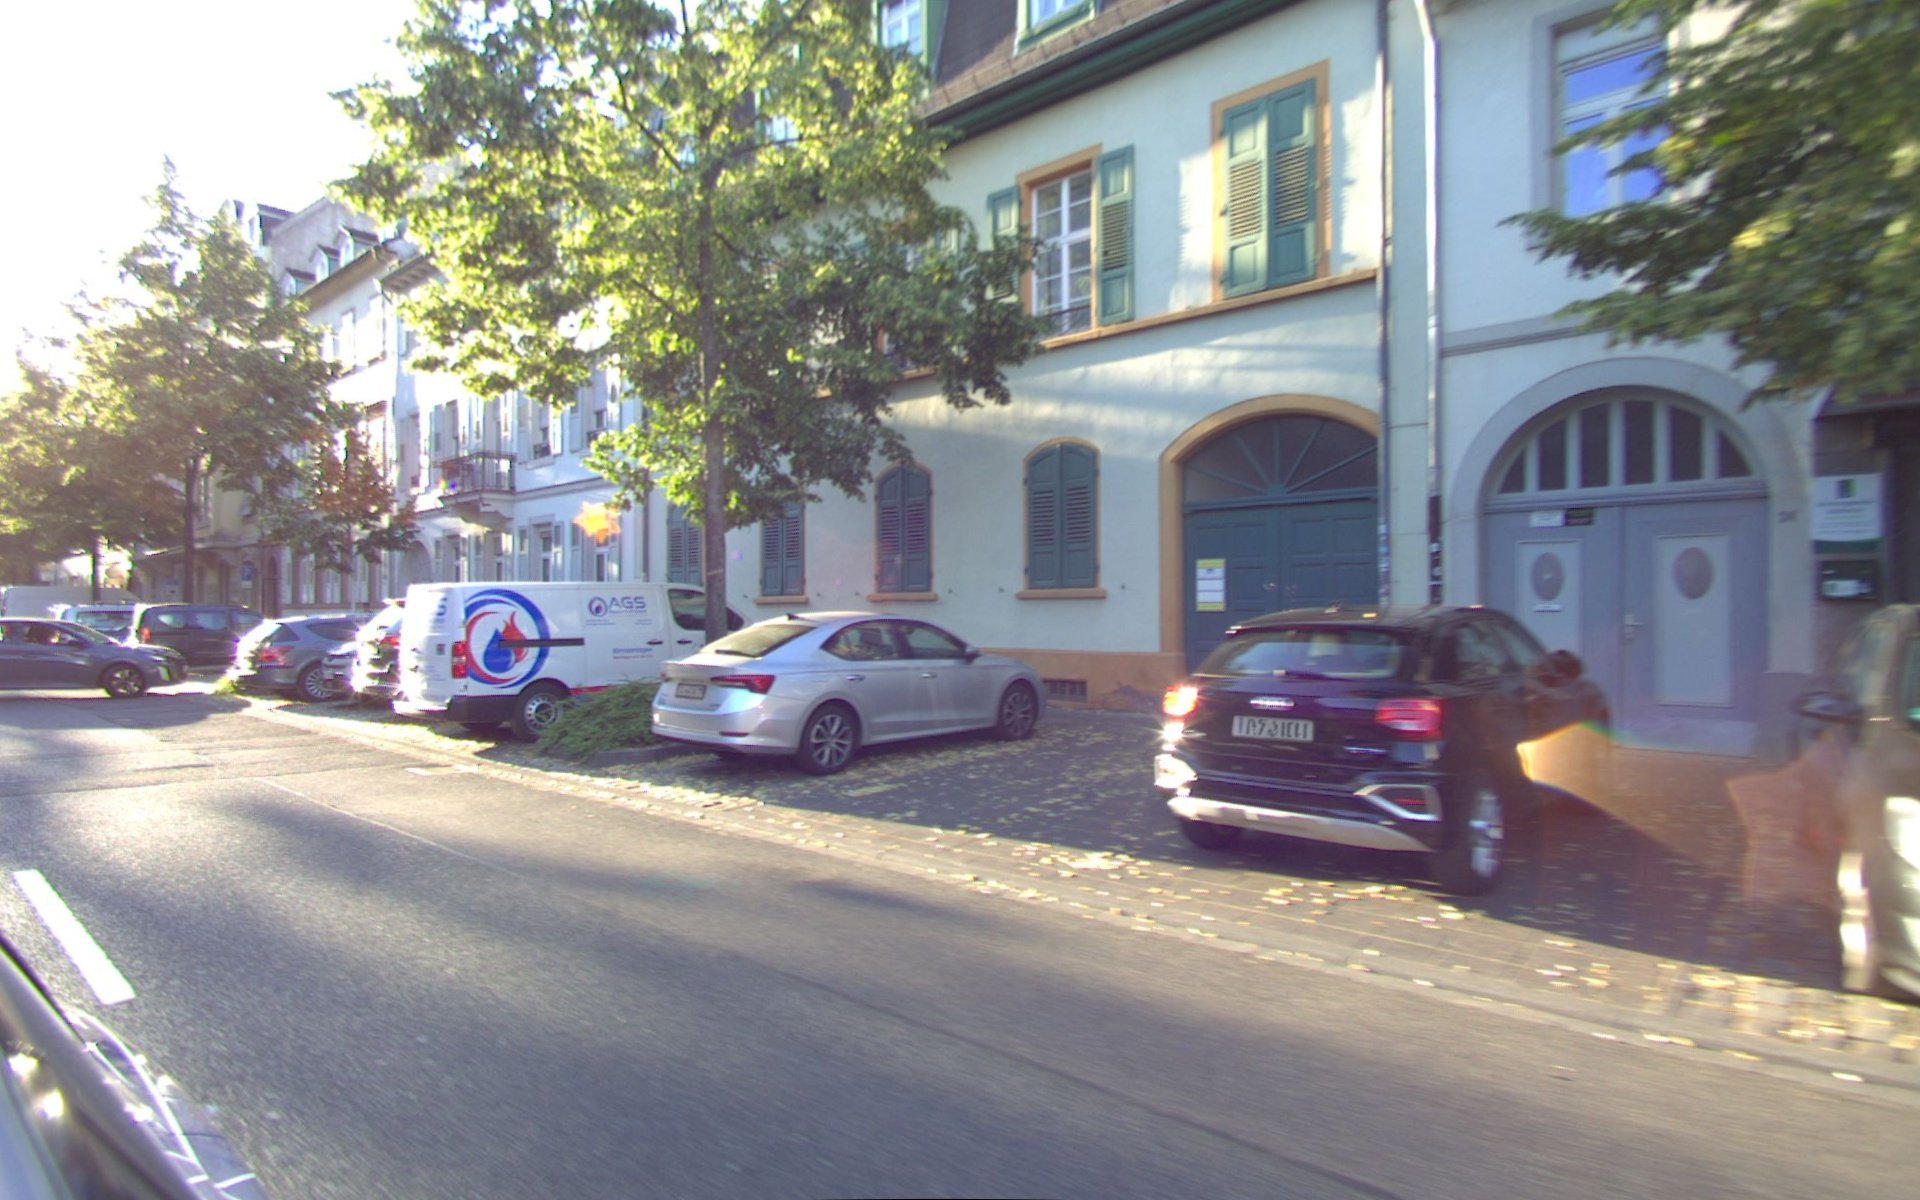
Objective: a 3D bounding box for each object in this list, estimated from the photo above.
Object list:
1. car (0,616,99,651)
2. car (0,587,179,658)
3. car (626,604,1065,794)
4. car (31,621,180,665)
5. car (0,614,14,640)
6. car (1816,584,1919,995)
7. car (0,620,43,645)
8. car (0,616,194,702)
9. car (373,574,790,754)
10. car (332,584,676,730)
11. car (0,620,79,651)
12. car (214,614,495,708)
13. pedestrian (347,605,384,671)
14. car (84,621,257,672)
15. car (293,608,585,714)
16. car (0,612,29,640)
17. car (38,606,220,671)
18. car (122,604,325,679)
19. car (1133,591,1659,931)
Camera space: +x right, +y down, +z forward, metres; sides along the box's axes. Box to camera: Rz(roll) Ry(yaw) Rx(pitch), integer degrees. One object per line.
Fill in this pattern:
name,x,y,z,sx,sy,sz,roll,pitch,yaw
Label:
car,-43.809,1.588,48.119,1.969,1.494,4.143,-1,0,40
car,-35.104,0.833,40.658,2.170,2.641,5.599,-1,0,41
car,-0.962,0.824,10.442,1.734,1.496,4.429,-2,-1,43
car,-31.179,1.521,37.013,1.748,1.414,3.947,0,0,40
car,-69.710,1.921,71.111,1.945,1.796,4.509,0,-1,40
car,5.013,0.667,4.229,1.838,1.512,4.287,-1,0,36
car,-58.679,2.026,61.413,1.821,1.433,4.337,-1,0,41
car,-16.602,1.045,18.476,4.002,1.472,1.691,0,-1,-30
car,-4.750,0.723,13.354,1.973,1.922,4.819,-1,-1,41
car,-6.740,0.772,15.347,1.893,1.884,4.381,-1,-1,42
car,-49.172,1.862,53.367,1.695,1.459,3.877,-1,1,39
car,-10.871,1.017,18.377,1.962,1.495,3.995,-1,-1,41
pedestrian,-16.510,1.042,28.094,0.779,1.815,0.655,-1,-2,42
car,-24.827,1.421,31.935,1.593,1.450,4.107,-1,-1,42
car,-8.697,0.937,17.121,1.965,1.567,3.992,-2,-1,44
car,-64.497,1.750,66.556,2.053,1.825,4.657,-1,0,42
car,-27.323,1.204,33.387,1.919,1.968,4.450,-1,-1,43
car,-19.380,1.048,26.750,1.807,1.820,4.093,-1,-1,43
car,3.035,0.723,6.599,1.905,1.512,3.879,-2,-1,44
